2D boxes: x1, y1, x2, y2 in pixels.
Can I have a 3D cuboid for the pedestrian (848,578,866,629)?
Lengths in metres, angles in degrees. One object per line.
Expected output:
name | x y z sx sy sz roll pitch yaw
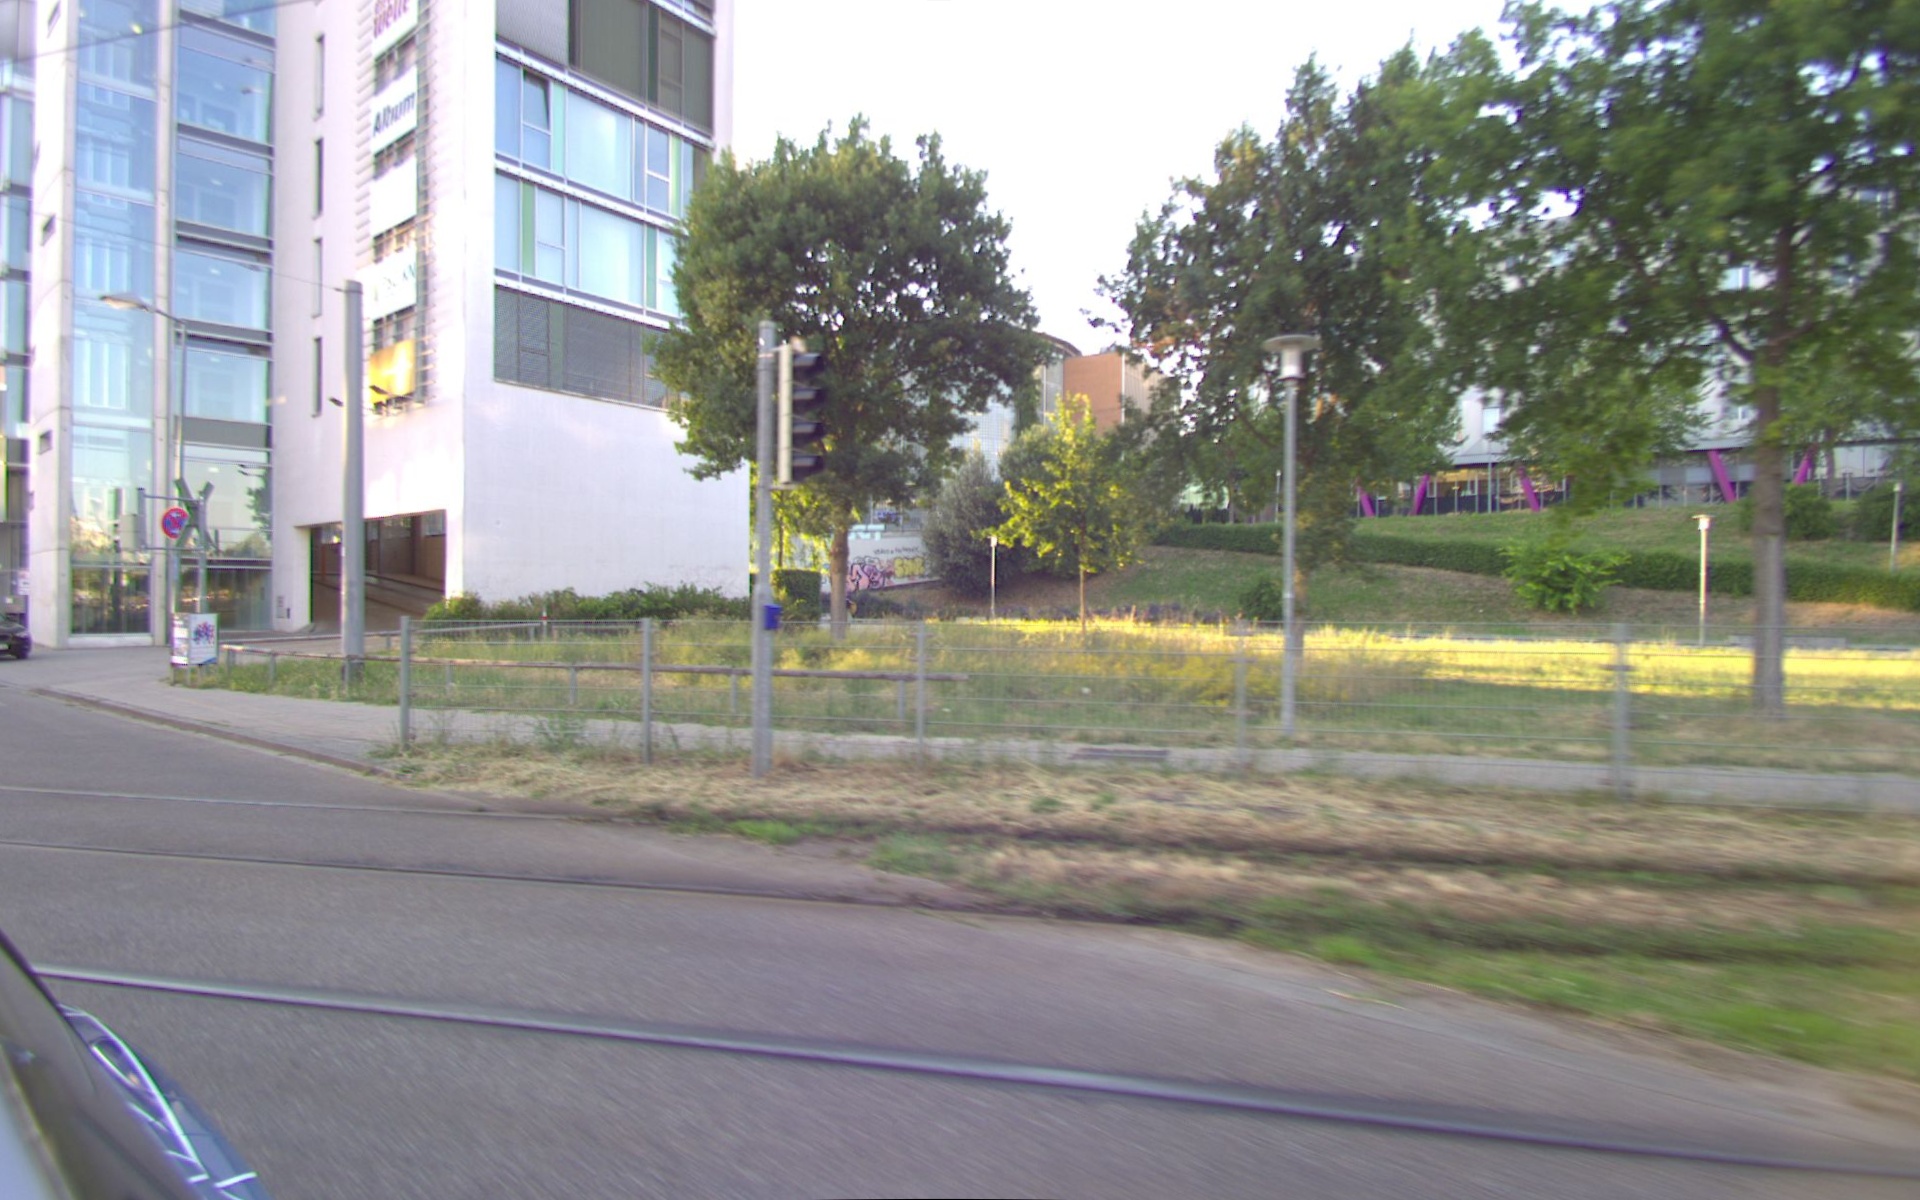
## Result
pedestrian | -3.754 0.133 36.909 0.479 1.850 0.435 0 1 18

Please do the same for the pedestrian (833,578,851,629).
pedestrian | -4.294 0.139 36.916 0.479 1.850 0.447 0 1 18

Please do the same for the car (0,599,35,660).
car | -25.066 0.725 25.161 4.210 1.453 1.840 0 1 29
